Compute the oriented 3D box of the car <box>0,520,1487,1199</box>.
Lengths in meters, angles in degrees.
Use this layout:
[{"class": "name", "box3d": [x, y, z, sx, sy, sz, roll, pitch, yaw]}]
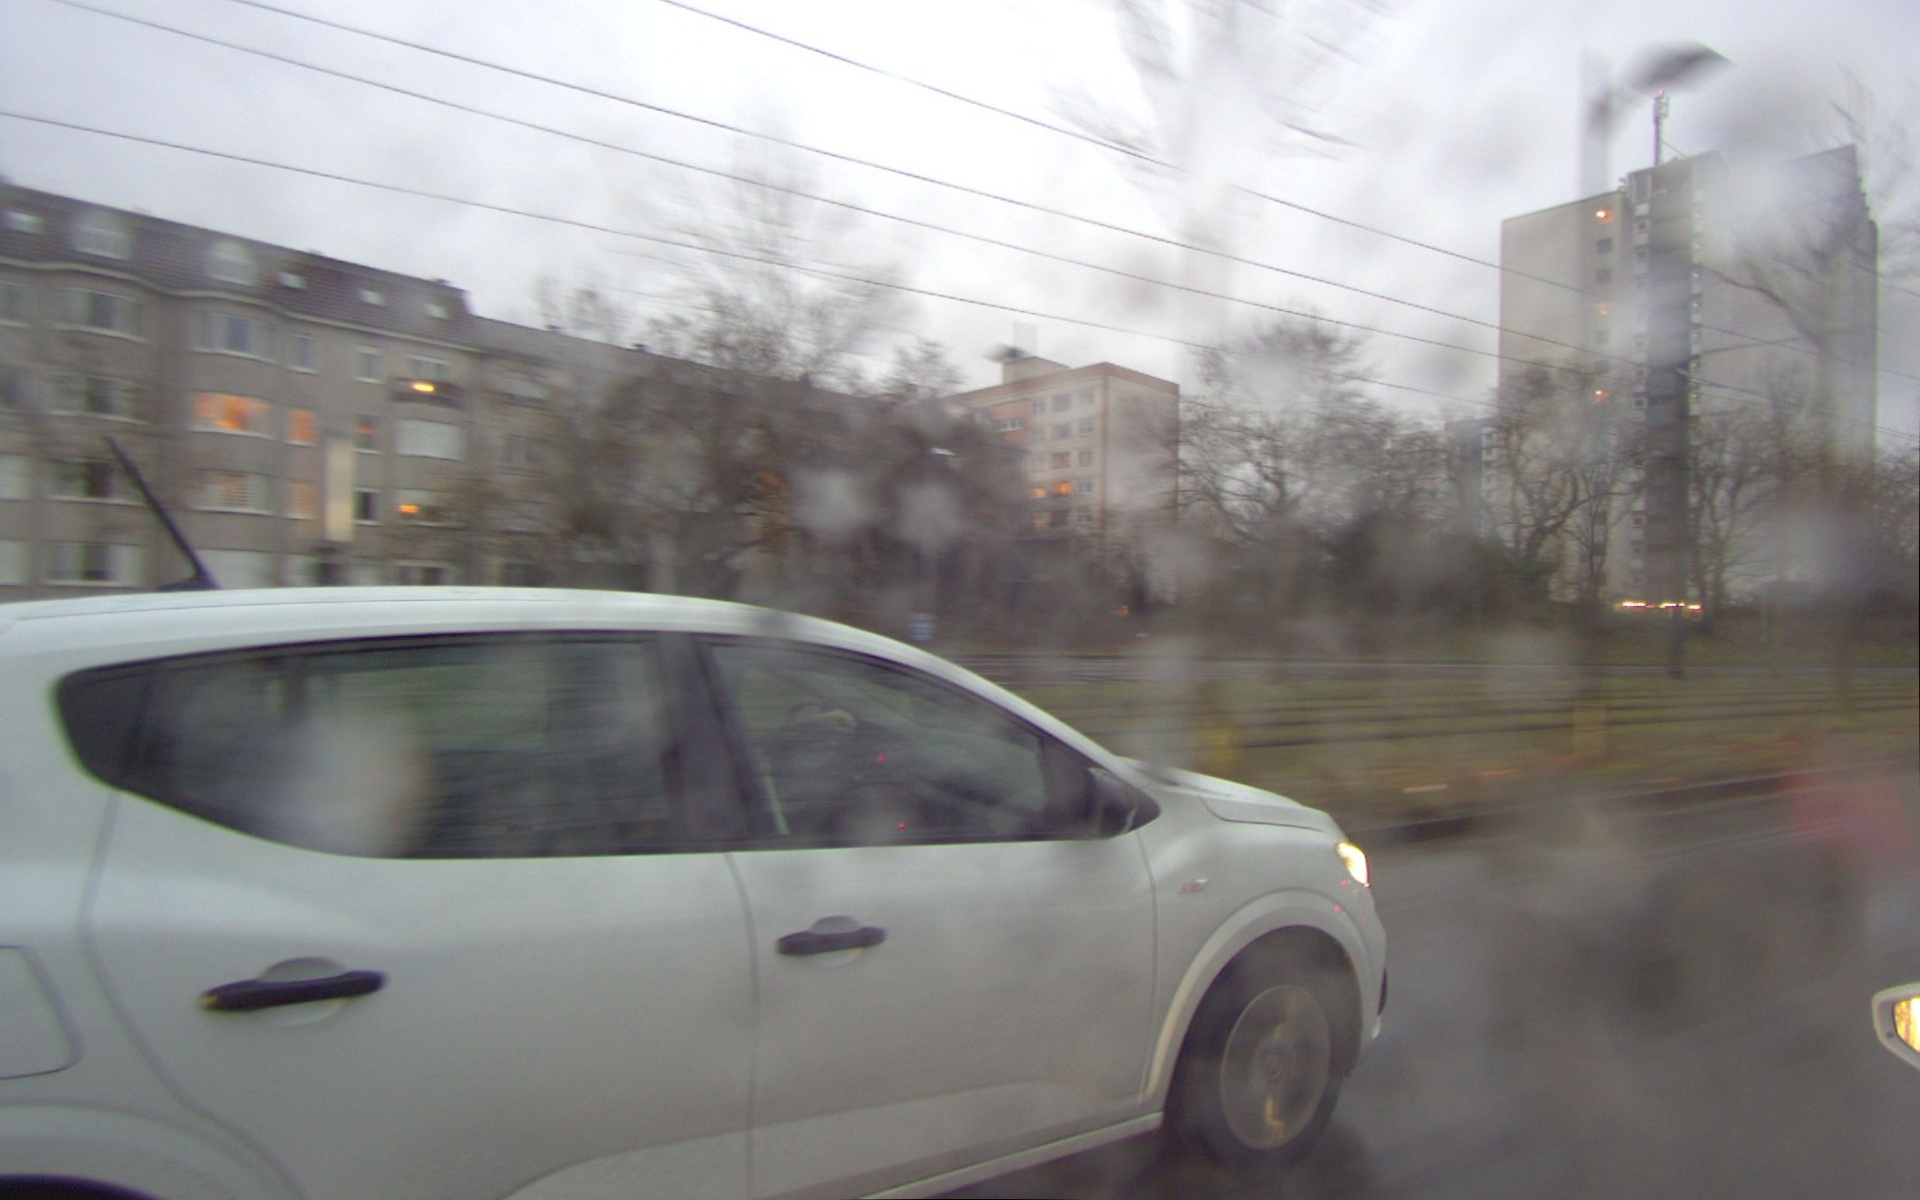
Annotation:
[{"class": "car", "box3d": [-0.575, 0.711, 2.692, 4.089, 1.545, 1.699, 2, -1, -32]}]
